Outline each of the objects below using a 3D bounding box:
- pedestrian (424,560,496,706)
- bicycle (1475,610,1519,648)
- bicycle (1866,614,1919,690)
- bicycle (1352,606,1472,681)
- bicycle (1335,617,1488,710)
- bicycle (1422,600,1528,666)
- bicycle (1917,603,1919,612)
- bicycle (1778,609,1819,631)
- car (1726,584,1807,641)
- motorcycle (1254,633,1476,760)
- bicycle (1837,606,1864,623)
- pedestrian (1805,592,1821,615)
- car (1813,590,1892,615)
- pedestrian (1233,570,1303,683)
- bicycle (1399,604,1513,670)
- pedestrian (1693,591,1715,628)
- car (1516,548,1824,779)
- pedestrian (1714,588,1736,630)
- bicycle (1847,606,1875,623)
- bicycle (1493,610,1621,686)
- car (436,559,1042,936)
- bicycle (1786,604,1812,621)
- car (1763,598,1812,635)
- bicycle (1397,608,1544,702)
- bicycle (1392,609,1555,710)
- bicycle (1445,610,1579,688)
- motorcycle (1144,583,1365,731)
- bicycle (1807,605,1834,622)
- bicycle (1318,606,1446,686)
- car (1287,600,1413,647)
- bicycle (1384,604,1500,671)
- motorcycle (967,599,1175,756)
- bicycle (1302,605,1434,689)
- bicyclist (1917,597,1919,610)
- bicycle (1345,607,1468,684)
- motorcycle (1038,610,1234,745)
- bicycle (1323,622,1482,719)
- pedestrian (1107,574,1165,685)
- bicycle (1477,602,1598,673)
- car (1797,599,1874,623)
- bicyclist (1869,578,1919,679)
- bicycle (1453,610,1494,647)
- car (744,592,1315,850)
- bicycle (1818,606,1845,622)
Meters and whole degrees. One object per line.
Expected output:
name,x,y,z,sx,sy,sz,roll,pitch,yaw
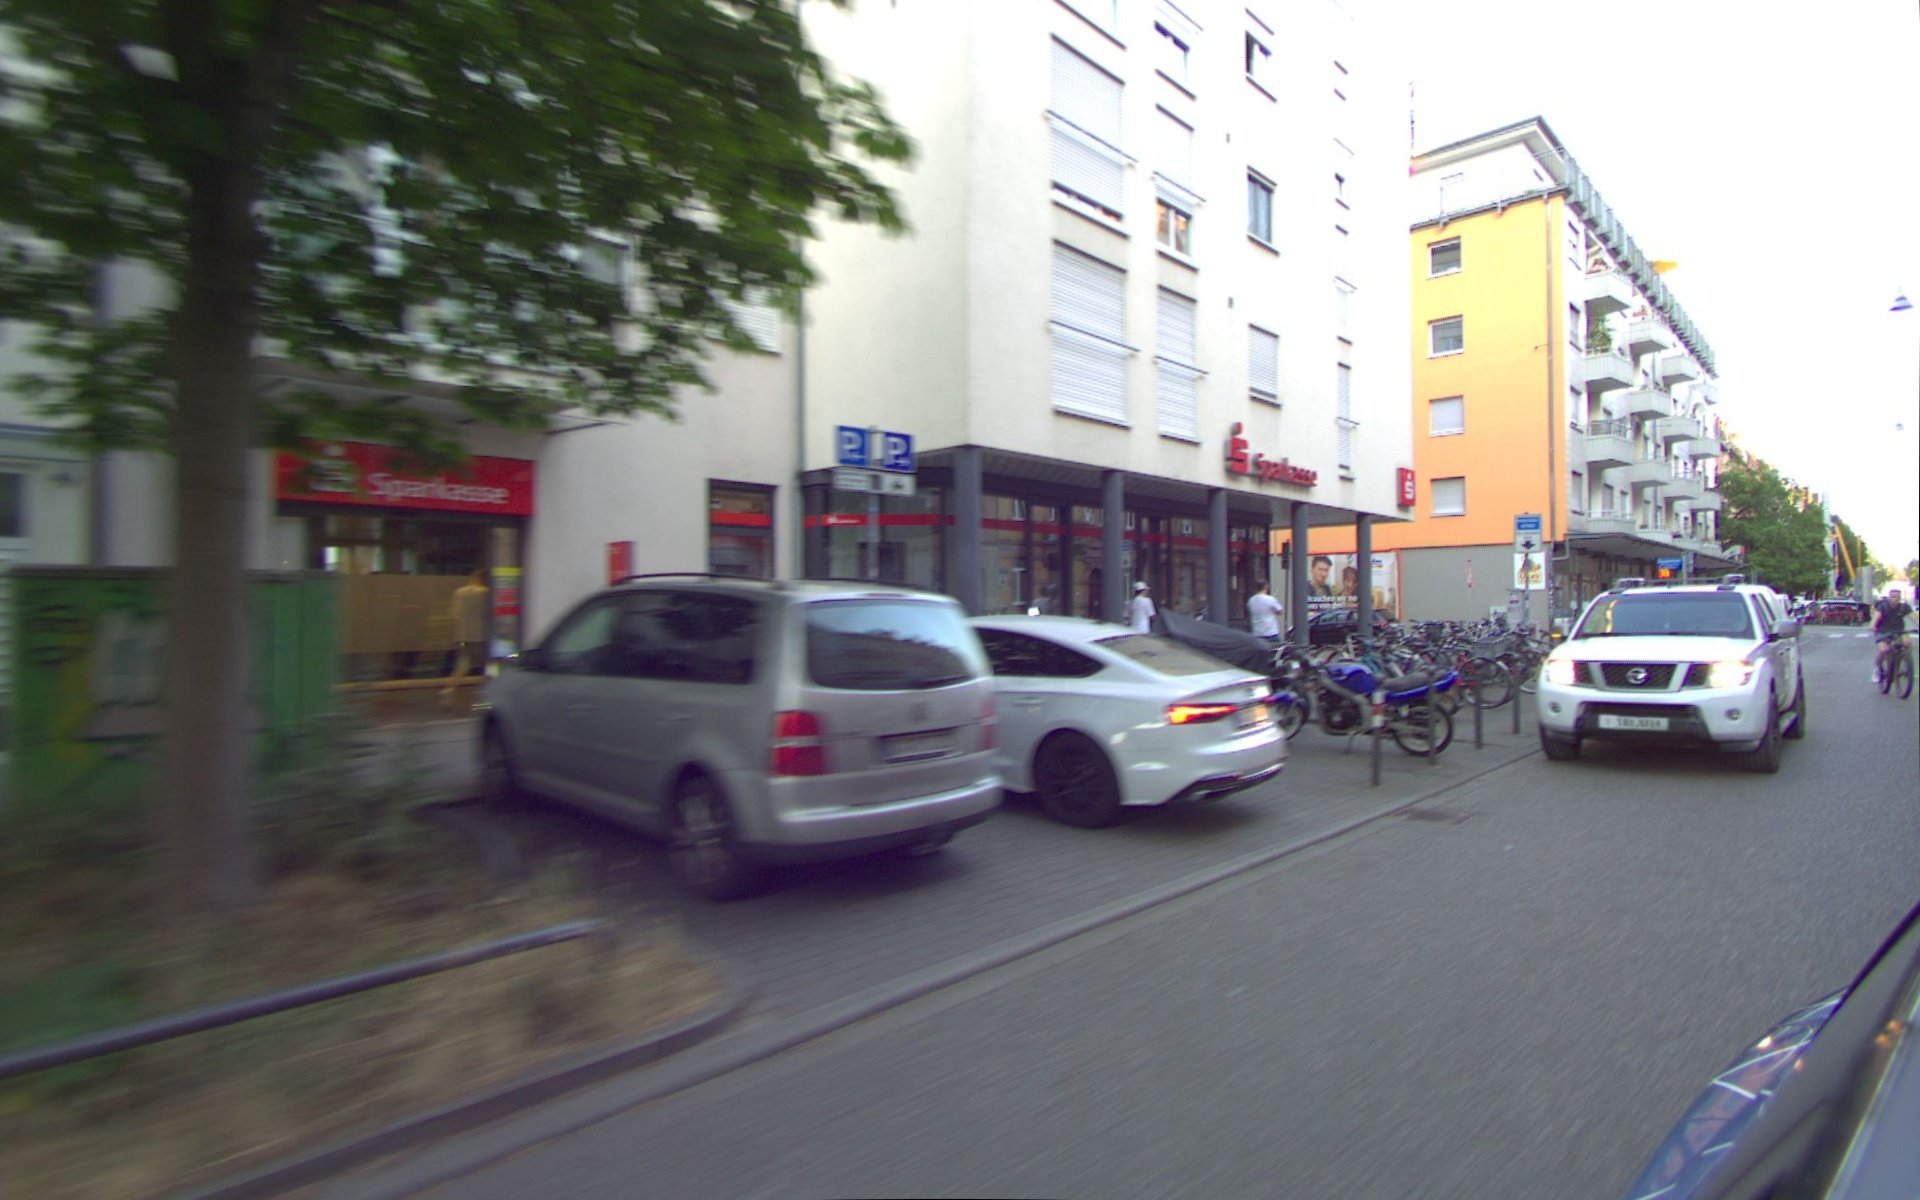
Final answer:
pedestrian,-6.270,0.400,12.702,0.624,1.775,0.579,-2,-1,39
bicycle,16.690,0.897,31.450,1.930,1.080,0.563,-2,1,-42
bicycle,15.298,0.804,16.327,0.790,1.154,2.311,-2,-2,37
bicycle,7.578,0.701,17.010,0.642,1.132,1.725,0,1,-42
bicycle,6.025,0.812,13.570,0.656,1.044,1.722,0,4,-43
bicycle,9.629,0.588,18.933,1.715,1.146,0.572,1,1,33
bicycle,118.331,0.942,124.436,0.750,1.145,1.949,-1,-2,38
bicycle,41.011,0.982,49.527,0.501,1.014,1.482,-1,2,-39
car,30.649,0.439,38.409,1.959,1.998,4.923,1,1,44
motorcycle,4.121,0.936,10.356,2.046,1.091,0.657,1,1,29
bicycle,65.718,1.042,74.702,0.656,1.183,2.105,1,1,16
pedestrian,61.554,0.236,73.010,0.850,1.628,0.540,2,-1,-20
car,85.927,0.248,97.555,5.080,2.222,2.324,-2,0,19
pedestrian,4.966,0.410,16.367,0.898,1.745,0.774,2,-1,7
bicycle,8.912,0.635,18.223,0.642,1.067,1.725,0,1,-42
pedestrian,34.409,0.413,46.796,0.708,1.686,0.733,1,1,43
car,7.754,0.519,10.795,1.910,1.877,5.187,-2,-1,43
pedestrian,34.913,0.404,46.197,0.708,1.851,0.847,1,1,43
bicycle,66.037,1.054,74.214,0.656,1.183,2.105,1,1,16
bicycle,9.928,0.768,16.858,1.722,1.132,0.696,2,1,43
car,-1.719,0.595,6.629,4.399,1.668,1.719,2,1,44
bicycle,62.506,0.929,75.419,0.656,1.180,2.105,1,1,16
car,36.906,0.705,45.101,1.591,1.520,3.372,1,1,41
bicycle,7.573,0.771,15.101,0.720,1.196,1.795,0,3,-35
bicycle,7.206,0.793,14.271,0.730,1.196,1.873,0,3,-41
bicycle,9.046,0.773,16.637,1.808,1.132,0.696,2,1,43
motorcycle,3.488,0.603,12.235,0.810,1.568,2.495,0,2,-43
bicycle,63.753,0.986,75.019,0.656,1.146,2.105,1,1,16
bicycle,6.547,0.682,15.743,1.721,1.132,0.644,2,1,41
car,13.303,0.764,34.634,1.678,1.494,3.670,-1,0,-44
bicycle,8.433,0.633,17.766,0.642,1.067,1.725,0,1,-42
motorcycle,1.098,0.723,10.379,2.055,1.386,0.707,2,1,41
bicycle,6.098,0.674,15.189,1.721,1.132,0.644,2,1,41
bicyclist,118.327,0.418,124.455,0.750,1.661,1.185,-1,-2,38
bicycle,7.269,0.706,16.527,0.642,1.132,1.725,0,1,-42
motorcycle,1.877,0.780,11.047,0.705,1.259,2.059,1,1,-44
bicycle,5.670,0.867,13.057,0.555,1.034,1.775,0,3,-43
pedestrian,2.841,0.477,16.357,0.648,1.745,0.666,2,-1,-19
bicycle,10.151,0.633,17.828,0.695,1.132,1.724,0,1,-42
car,66.466,0.862,76.874,3.939,1.689,1.821,-2,0,13
bicyclist,15.296,0.455,16.343,0.790,1.592,0.815,-2,-3,38
bicycle,16.199,0.874,31.895,1.727,1.080,0.563,-2,1,-42
car,0.367,0.723,8.214,4.415,1.473,1.755,2,1,39
bicycle,64.417,1.017,74.859,0.656,1.146,2.105,1,1,16
